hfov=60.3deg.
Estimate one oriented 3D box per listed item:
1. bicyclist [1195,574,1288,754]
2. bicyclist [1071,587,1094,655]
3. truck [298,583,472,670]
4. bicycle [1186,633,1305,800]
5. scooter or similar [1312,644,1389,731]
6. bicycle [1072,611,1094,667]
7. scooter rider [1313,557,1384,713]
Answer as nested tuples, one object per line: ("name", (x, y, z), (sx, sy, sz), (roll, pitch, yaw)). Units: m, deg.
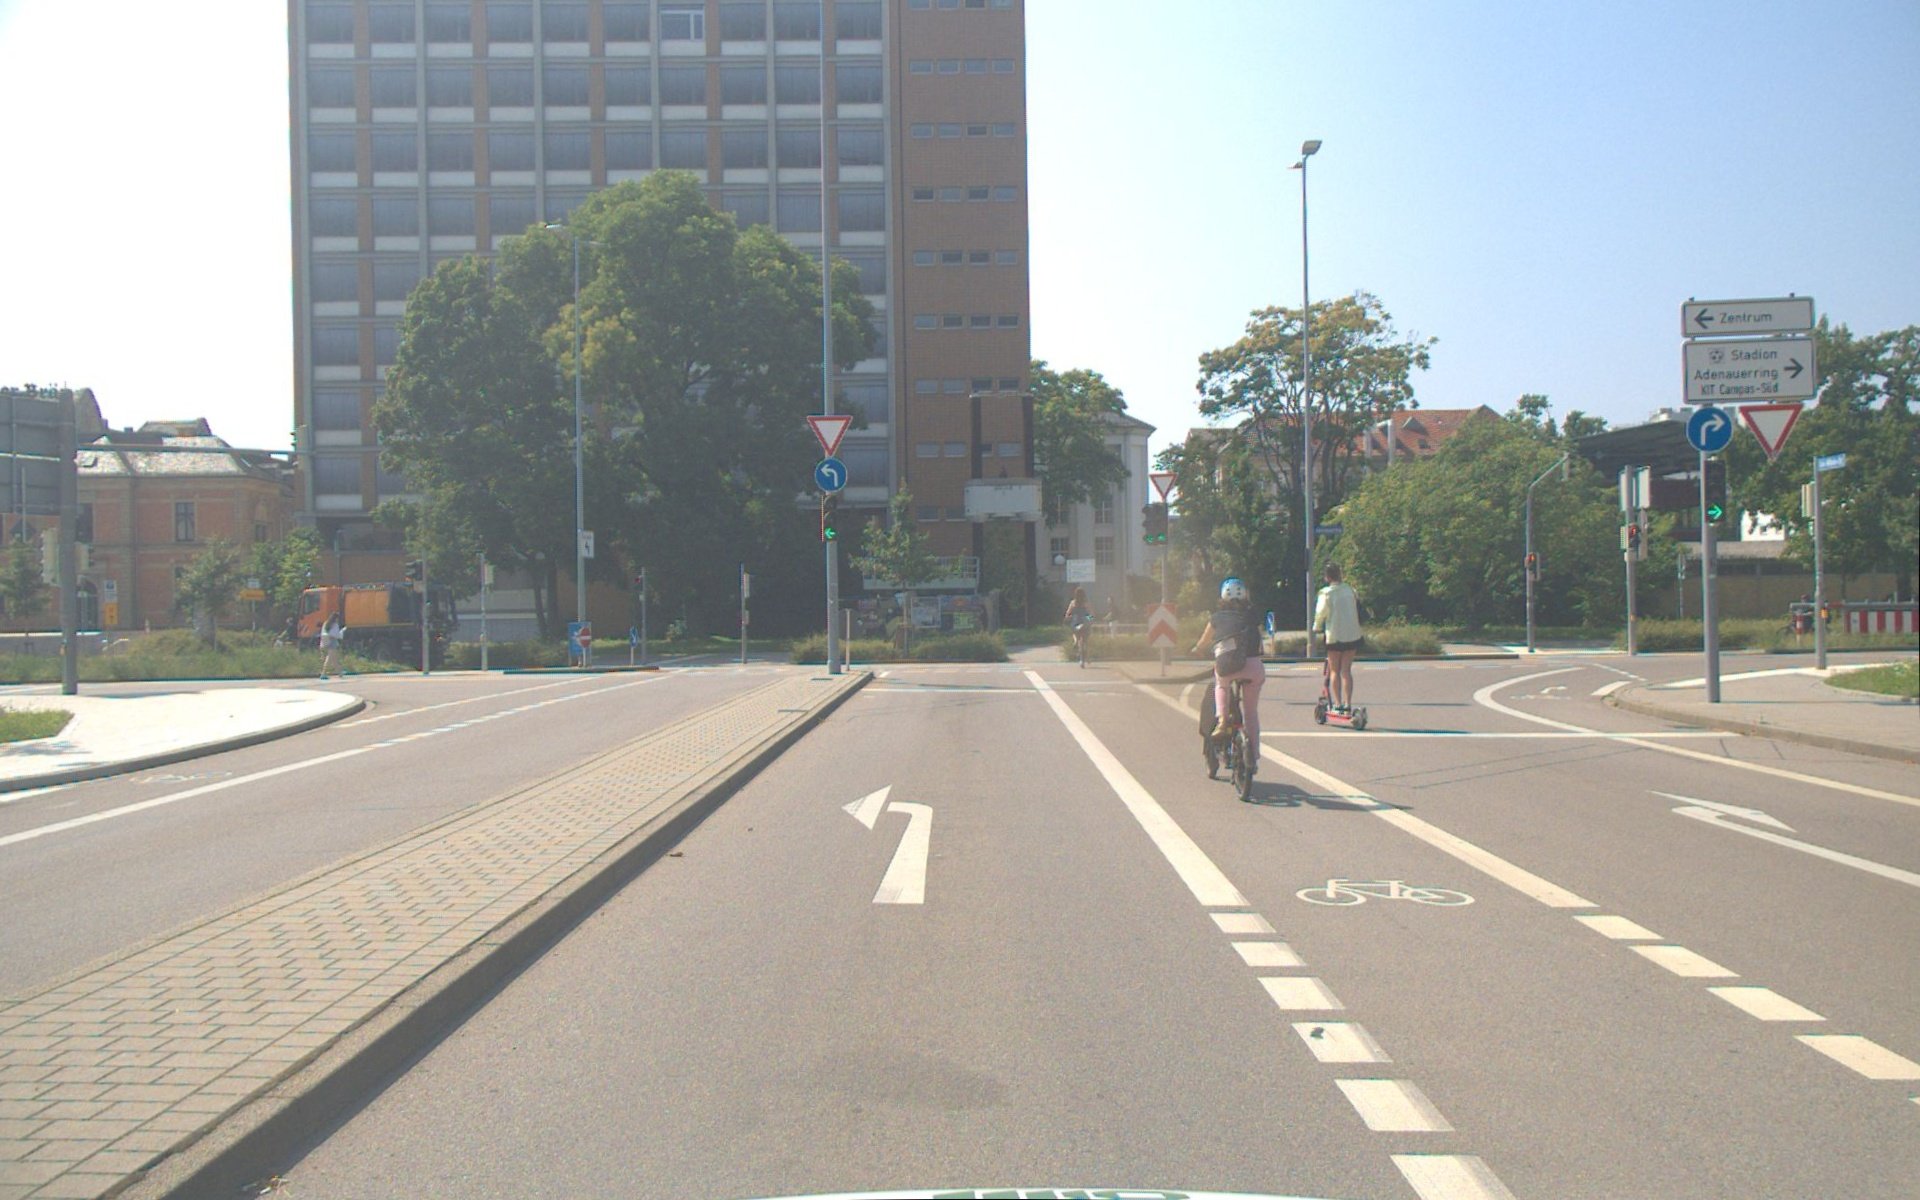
("bicyclist", (2.198, 0.490, 12.967), (0.590, 1.358, 0.660), (-1, 0, 0))
("bicyclist", (2.628, 0.452, 35.506), (0.440, 1.446, 0.496), (-2, 0, 3))
("truck", (-21.058, 0.972, 60.541), (5.830, 3.042, 2.703), (-1, -1, 26))
("bicycle", (2.233, 0.876, 13.108), (0.591, 1.183, 1.810), (-1, 0, -1))
("scooter or similar", (4.620, 1.020, 19.631), (0.755, 0.943, 1.622), (-1, 0, 9))
("bicycle", (2.625, 0.819, 35.297), (0.435, 1.136, 1.447), (-2, 0, 4))
("scooter rider", (4.589, 0.411, 19.559), (0.745, 1.806, 0.555), (-1, 0, 9))
